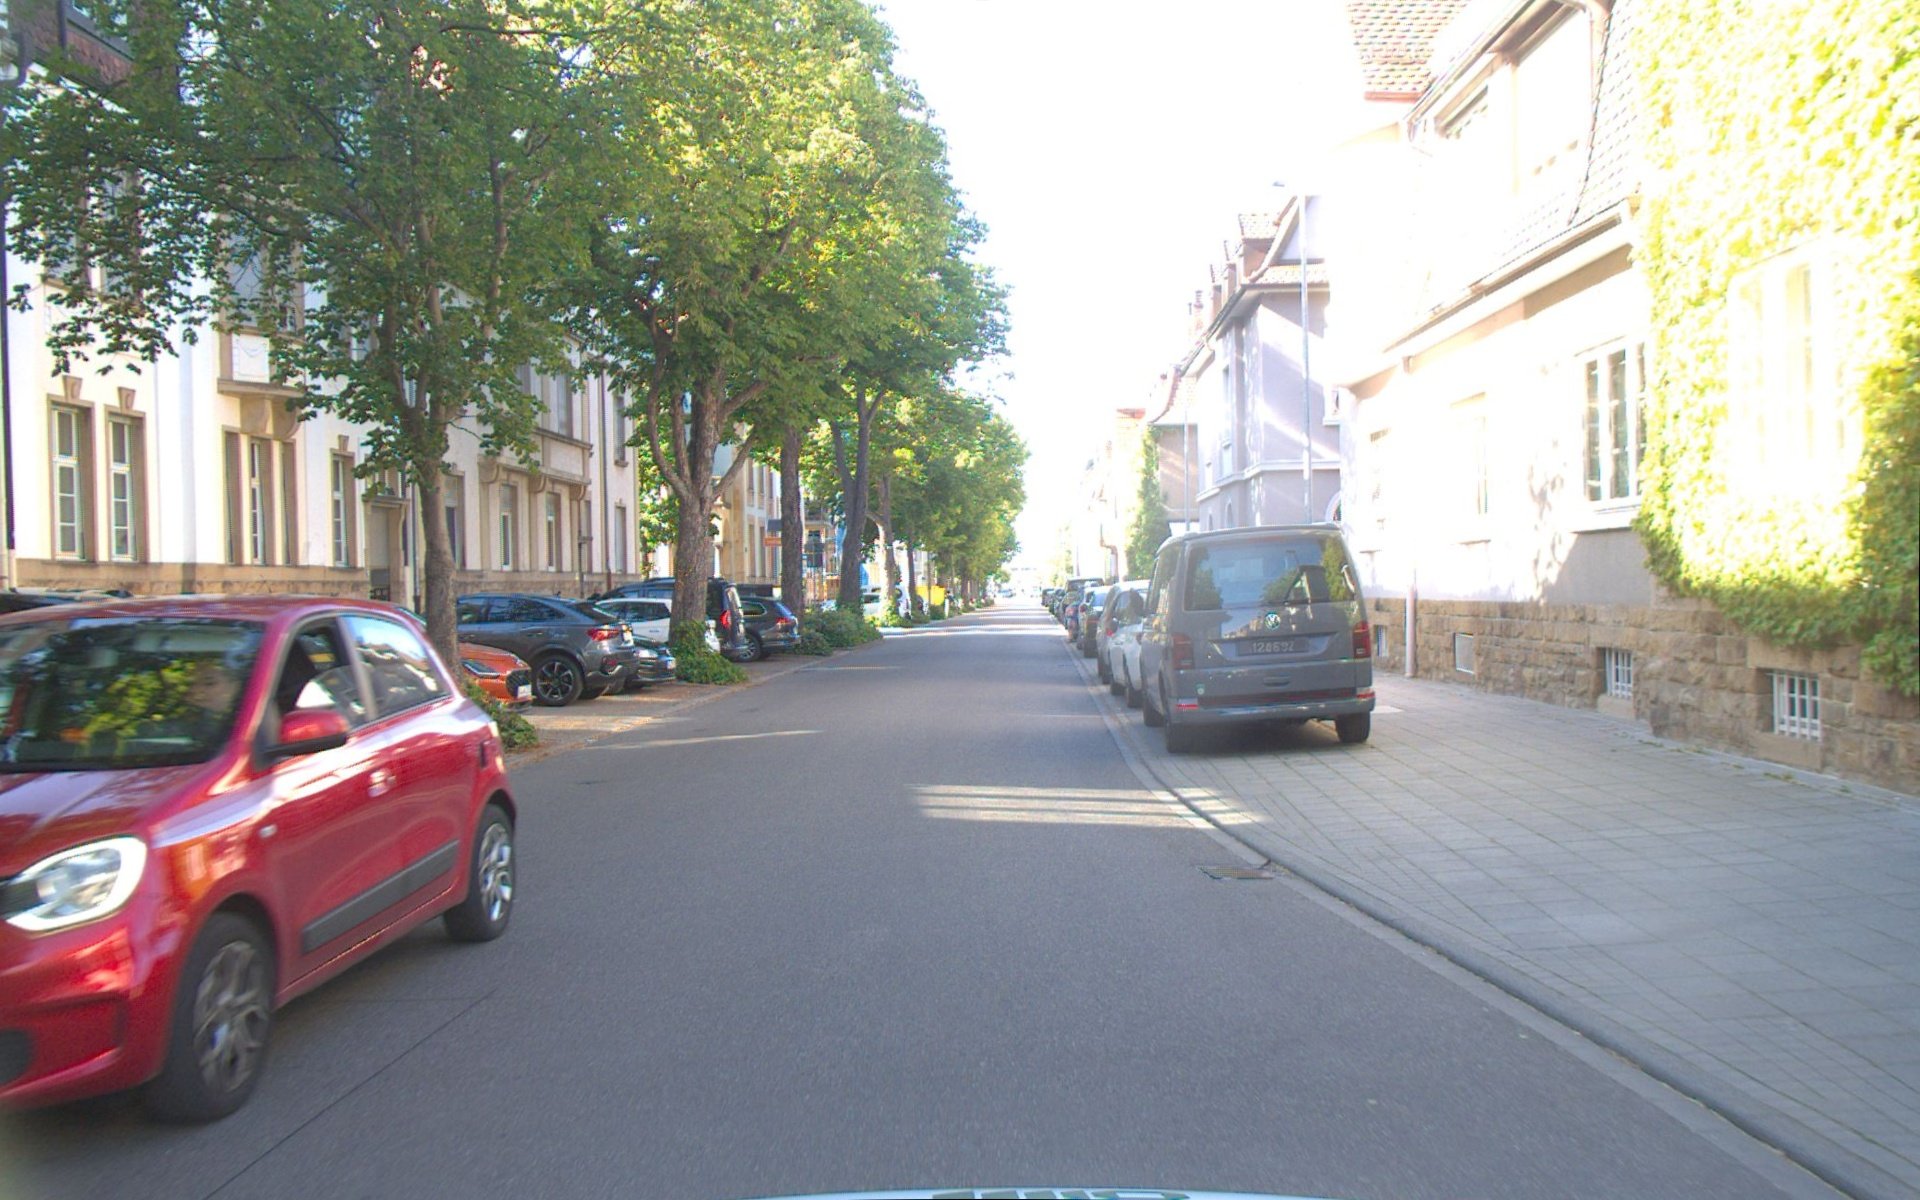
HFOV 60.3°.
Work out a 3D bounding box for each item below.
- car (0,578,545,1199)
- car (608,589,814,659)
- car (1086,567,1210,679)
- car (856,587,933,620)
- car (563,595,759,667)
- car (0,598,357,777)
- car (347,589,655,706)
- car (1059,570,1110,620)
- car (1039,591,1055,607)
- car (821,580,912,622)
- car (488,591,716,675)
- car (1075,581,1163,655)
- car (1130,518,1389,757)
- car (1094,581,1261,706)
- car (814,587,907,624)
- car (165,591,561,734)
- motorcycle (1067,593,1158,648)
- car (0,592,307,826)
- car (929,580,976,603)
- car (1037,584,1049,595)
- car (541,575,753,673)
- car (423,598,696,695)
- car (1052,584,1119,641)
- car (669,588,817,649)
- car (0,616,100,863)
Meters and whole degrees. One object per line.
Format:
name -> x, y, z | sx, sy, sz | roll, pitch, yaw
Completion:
car -> -2.845, 0.736, 5.948 | 1.607, 1.534, 3.703 | -2, 0, 2
car -> -5.721, 0.546, 38.363 | 4.438, 1.529, 1.892 | -1, 0, 1
car -> 3.091, 0.357, 27.903 | 1.752, 1.628, 4.002 | -4, 0, 3
car -> -3.454, 0.182, 86.994 | 3.910, 1.579, 1.835 | -2, 1, -6
car -> -6.437, 0.656, 35.966 | 3.898, 1.462, 1.829 | -1, 0, 0
car -> -7.634, 0.737, 14.861 | 3.710, 1.487, 1.864 | 0, 0, 3
car -> -6.571, 0.660, 23.959 | 3.904, 1.620, 1.860 | 0, 0, 1
car -> 5.213, -0.214, 69.586 | 1.865, 1.903, 4.675 | -4, 0, 2
car -> 9.858, -0.104, 187.363 | 1.734, 1.659, 3.868 | -1, 0, 3
car -> -4.101, 0.060, 73.179 | 3.906, 1.791, 1.797 | 1, 0, -1
car -> -6.688, 0.596, 31.180 | 3.906, 1.473, 1.741 | -1, 0, -2
car -> 3.662, 0.379, 38.721 | 1.816, 1.519, 4.610 | -3, 0, 3
car -> 2.810, 0.302, 16.561 | 1.826, 1.949, 4.784 | -3, 0, 3
car -> 2.855, 0.512, 22.582 | 1.644, 1.483, 4.438 | -2, 0, 0
car -> -4.232, 0.237, 70.999 | 3.906, 1.490, 1.797 | 1, -1, -1
car -> -6.789, 0.697, 19.079 | 3.904, 1.541, 1.748 | -1, 0, 2
motorcycle -> 3.950, 0.527, 42.900 | 2.155, 1.362, 0.918 | 1, 1, -13
car -> -7.196, 0.746, 12.317 | 3.903, 1.594, 1.864 | 0, 0, 3
car -> -0.678, -0.732, 144.475 | 3.922, 1.873, 2.001 | 1, 1, 4
car -> 12.627, -1.643, 250.441 | 1.734, 1.659, 3.868 | -1, 0, 3
car -> -6.297, 0.475, 33.572 | 3.897, 1.888, 1.829 | -1, 0, 1
car -> -6.351, 0.715, 26.466 | 3.819, 1.471, 1.861 | 0, 0, 7
car -> 3.775, 0.356, 50.246 | 1.665, 1.566, 4.156 | -4, 0, 1
car -> -5.673, 0.465, 43.453 | 3.598, 1.513, 1.642 | -1, 0, 2
car -> -7.550, 0.823, 9.852 | 3.903, 1.428, 1.831 | 0, 0, 3
